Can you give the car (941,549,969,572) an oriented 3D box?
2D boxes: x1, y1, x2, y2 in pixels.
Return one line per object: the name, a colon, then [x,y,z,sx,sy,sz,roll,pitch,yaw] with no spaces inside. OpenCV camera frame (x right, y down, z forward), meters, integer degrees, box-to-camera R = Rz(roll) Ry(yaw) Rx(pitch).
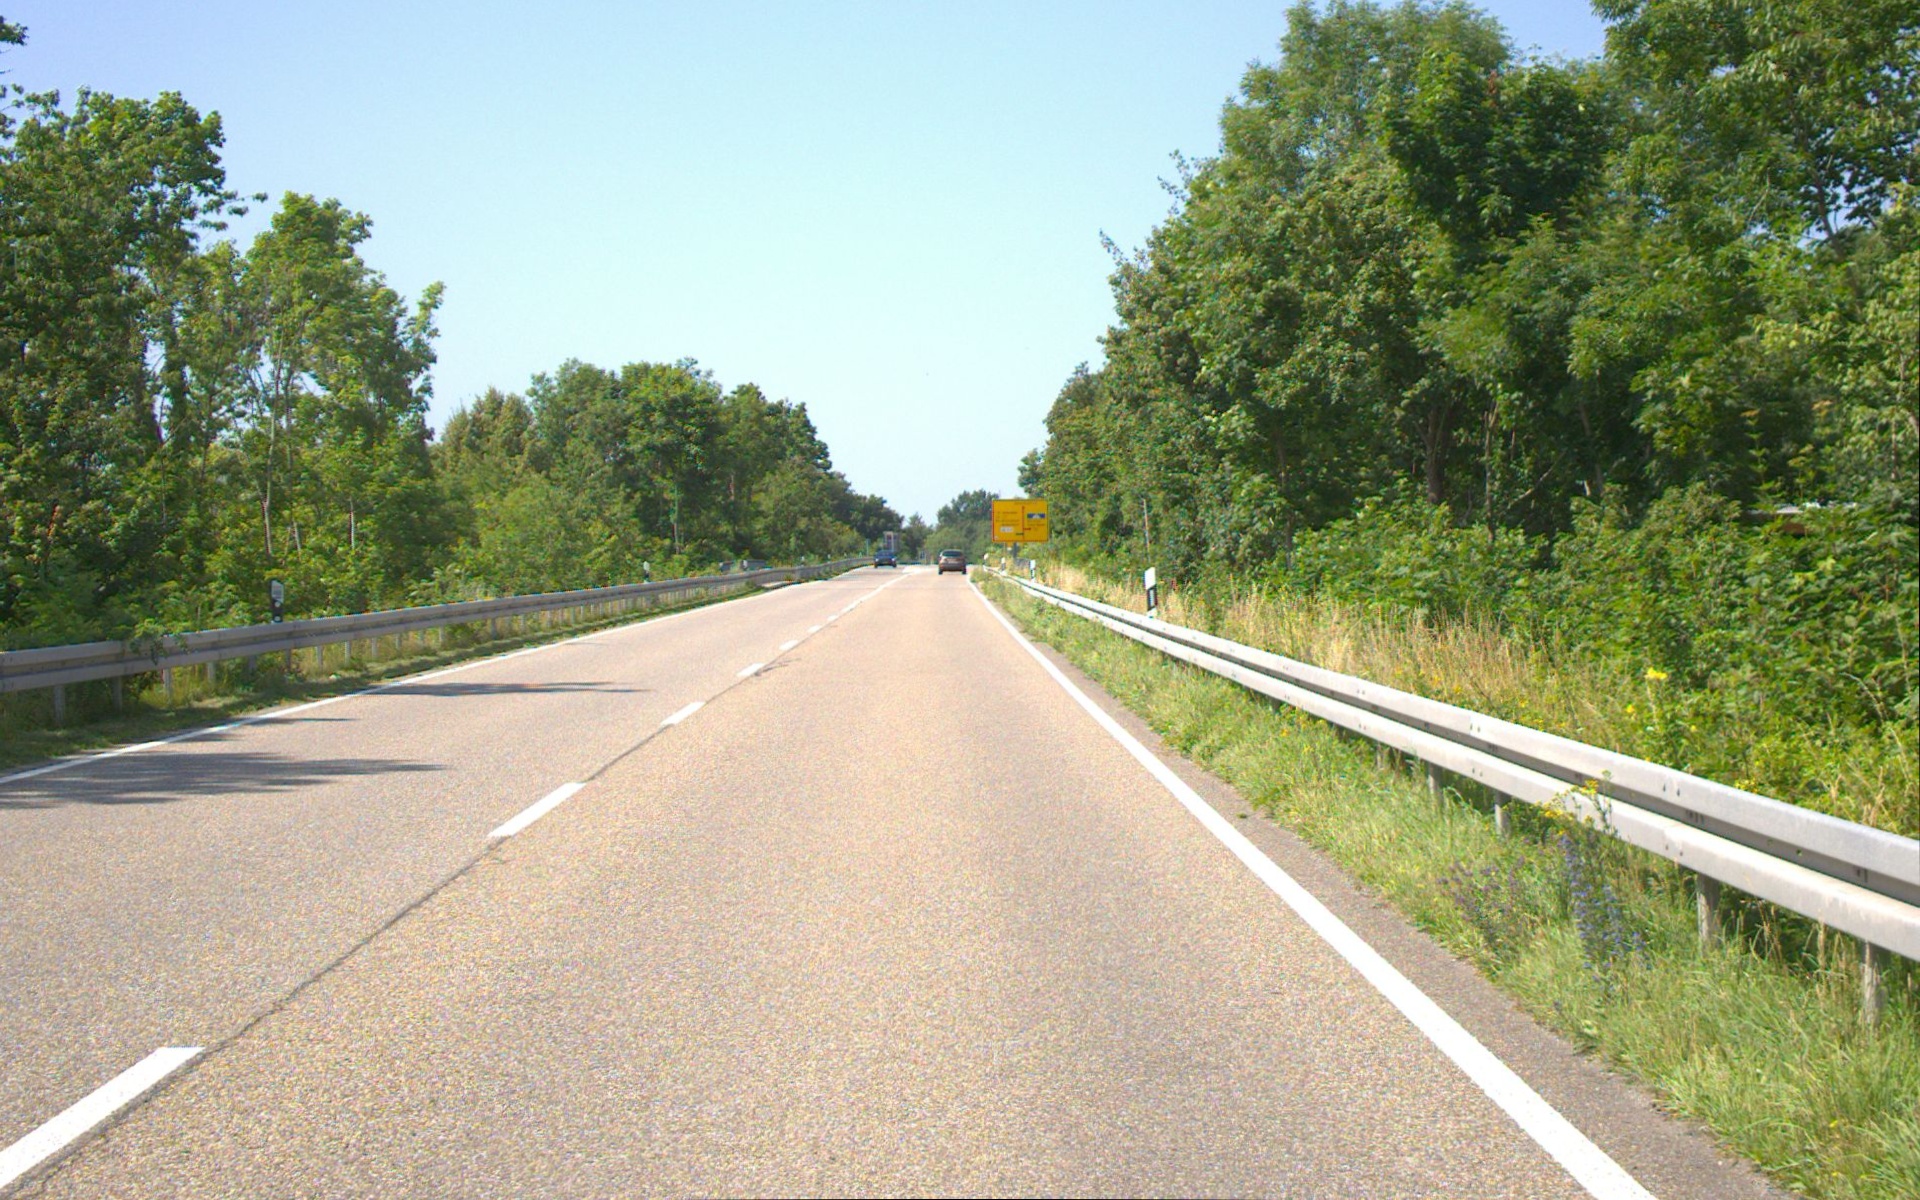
car: [-0.284,-2.539,221.020,1.741,1.465,3.692,0,1,1]
